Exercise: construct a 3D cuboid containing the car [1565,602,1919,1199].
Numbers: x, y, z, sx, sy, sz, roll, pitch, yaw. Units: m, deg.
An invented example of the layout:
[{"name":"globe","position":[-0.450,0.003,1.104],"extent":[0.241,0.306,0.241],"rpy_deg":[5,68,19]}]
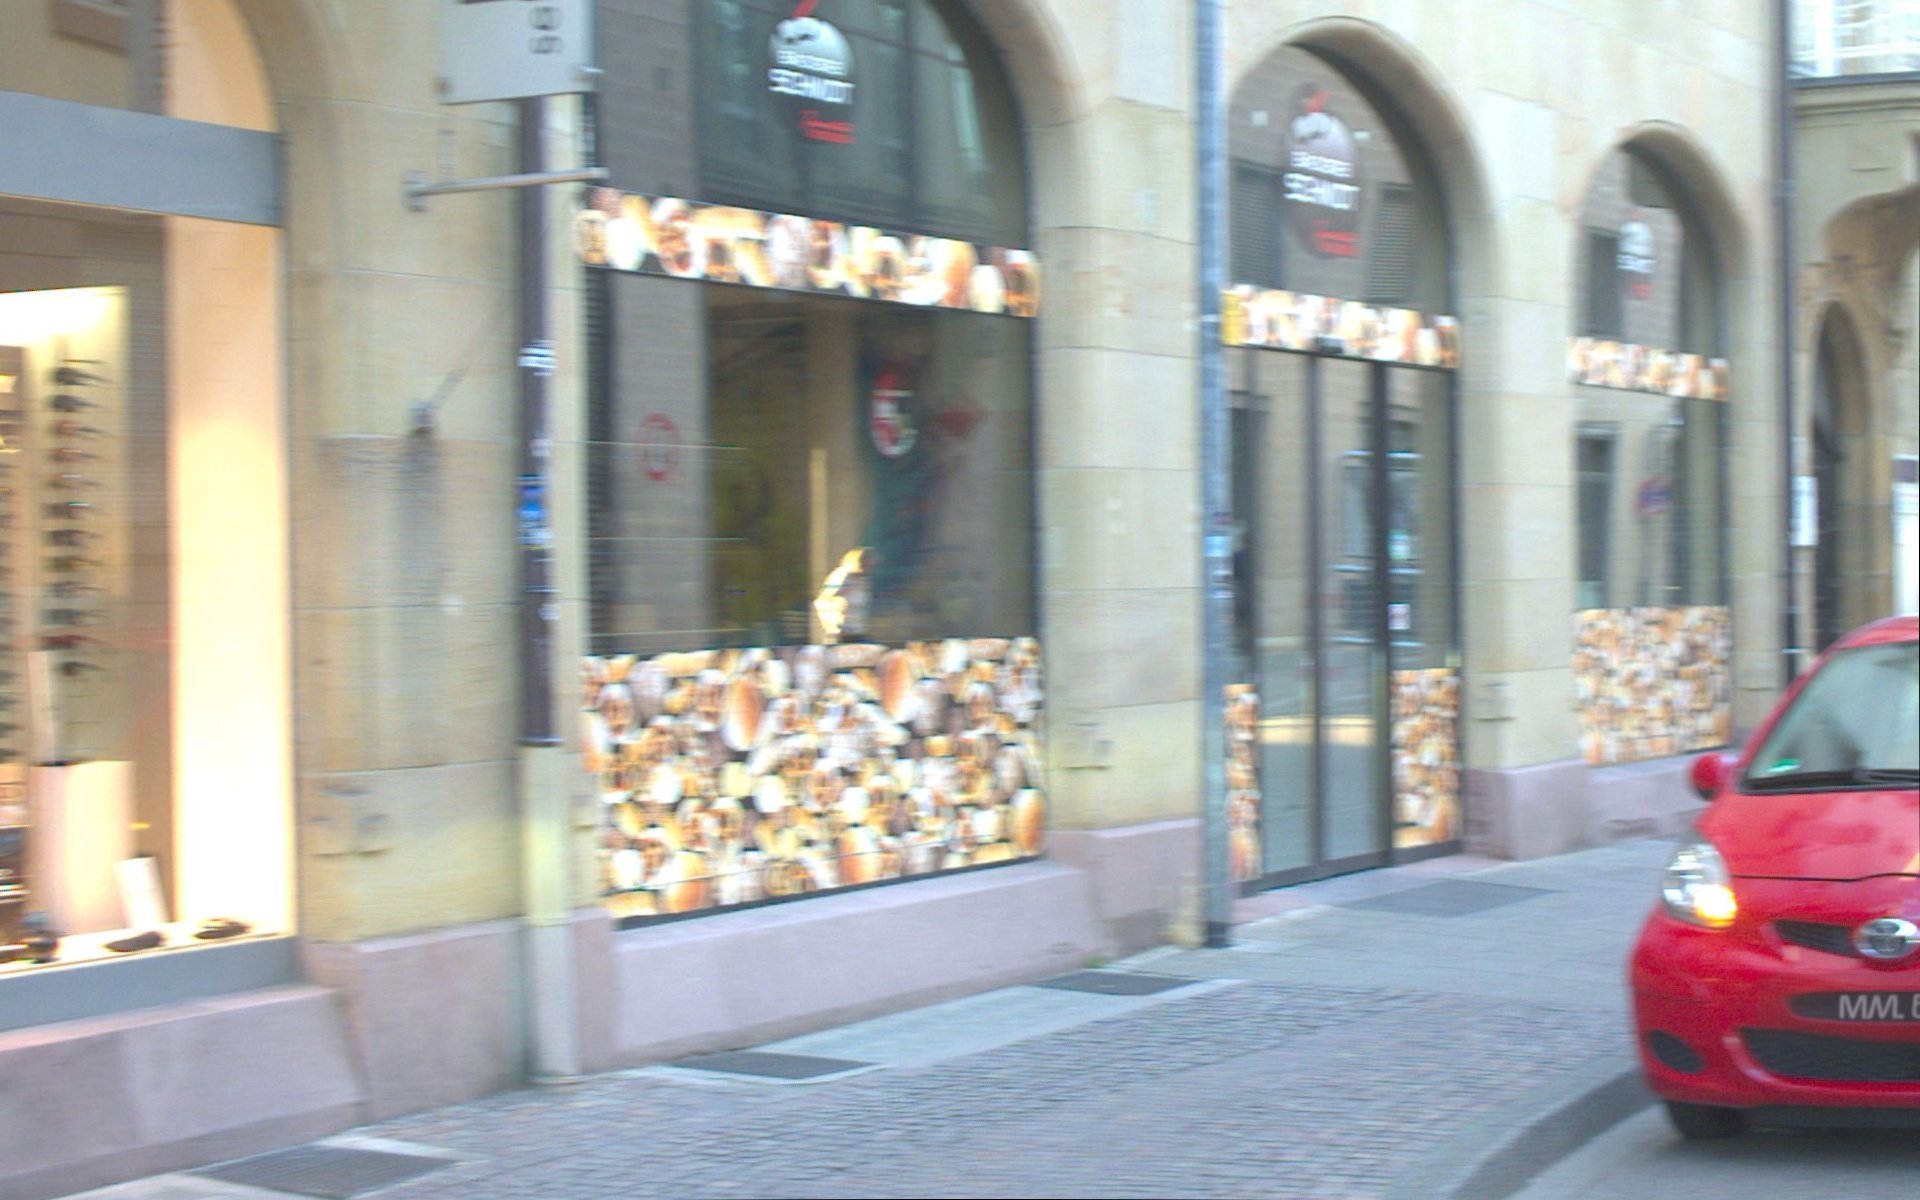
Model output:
[{"name":"car","position":[3.337,0.722,10.164],"extent":[1.660,1.465,3.925],"rpy_deg":[-3,-1,31]}]
